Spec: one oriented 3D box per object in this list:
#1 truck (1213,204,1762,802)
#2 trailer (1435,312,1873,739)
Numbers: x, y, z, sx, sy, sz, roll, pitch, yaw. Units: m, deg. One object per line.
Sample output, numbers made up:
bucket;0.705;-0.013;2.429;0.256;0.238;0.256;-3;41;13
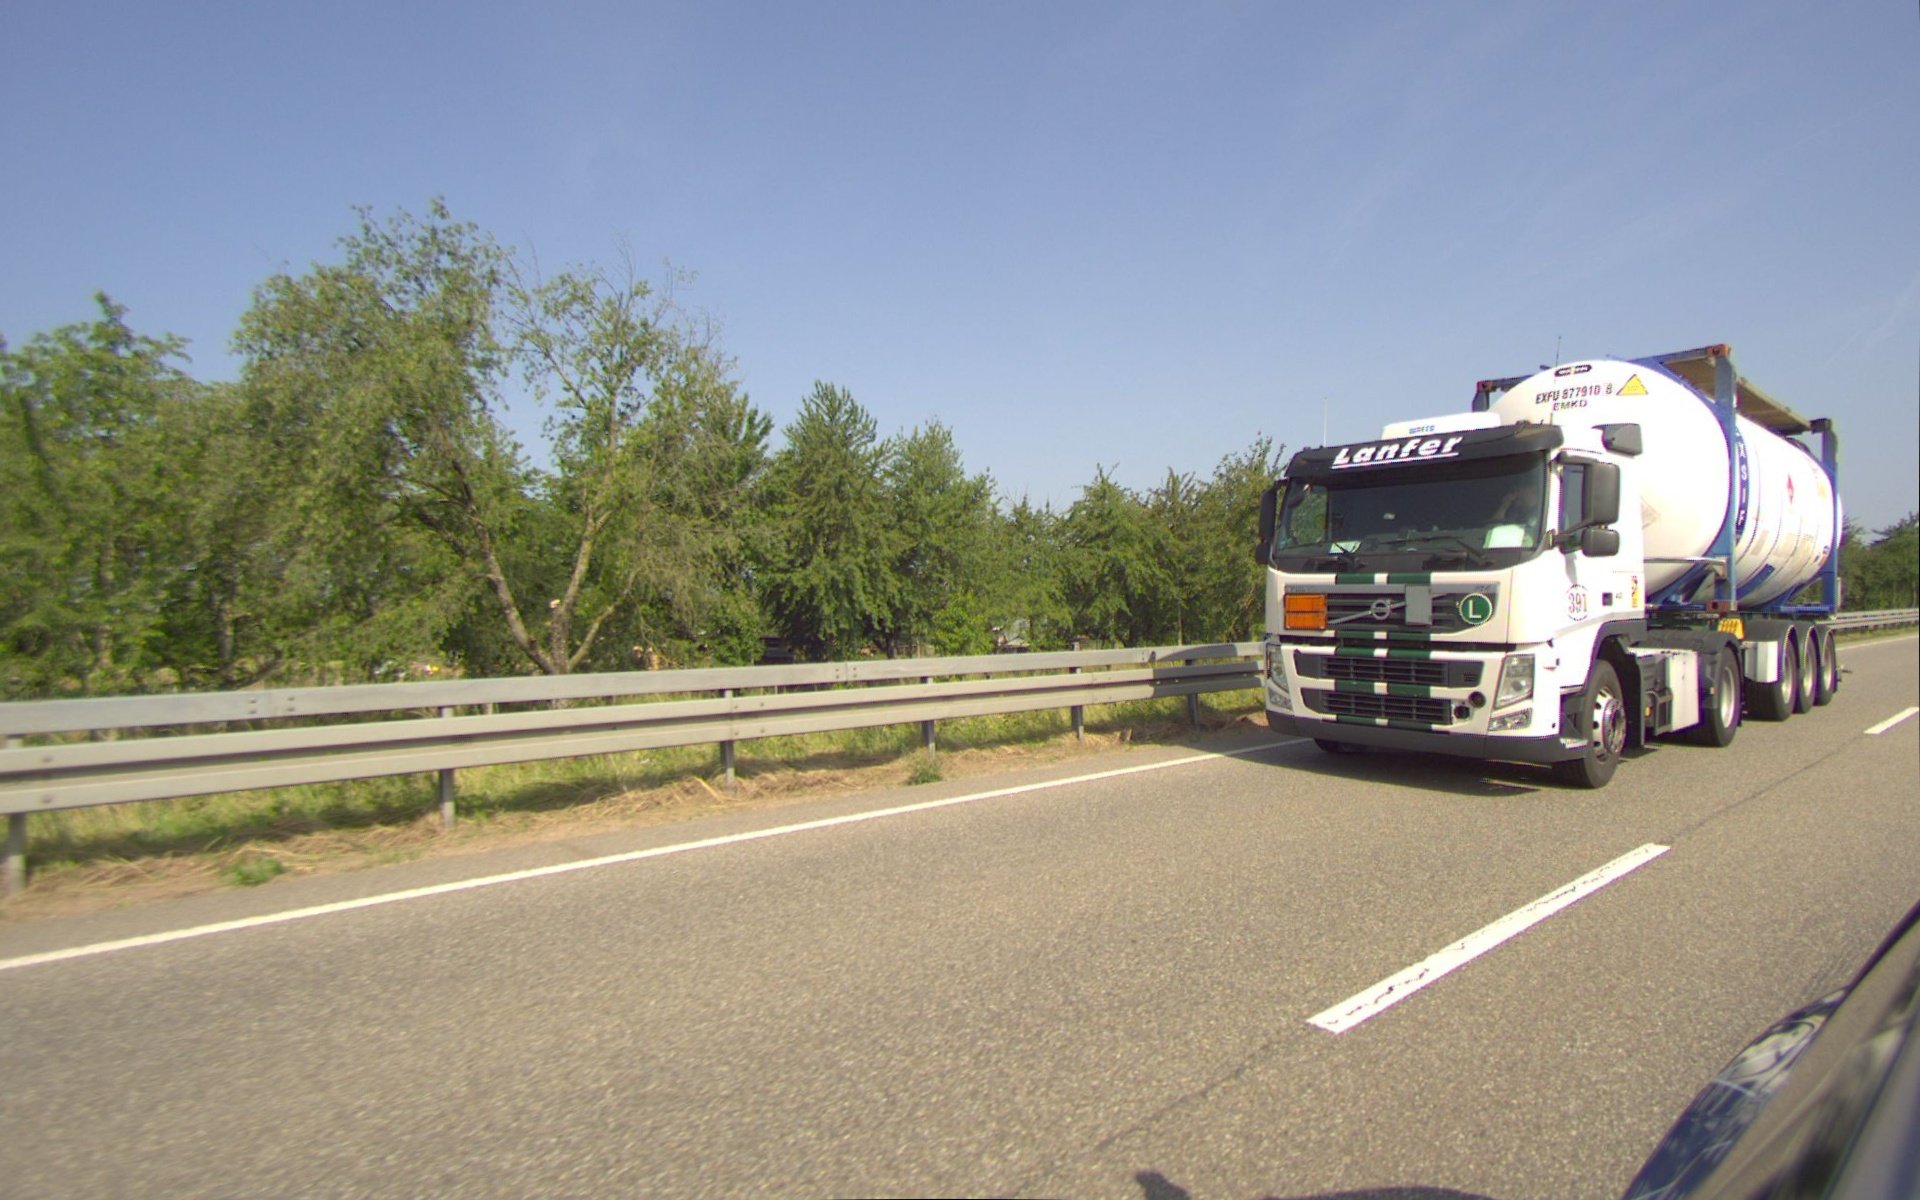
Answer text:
truck;5.229;-0.681;9.656;5.528;4.011;2.777;0;1;-40
trailer;9.425;-0.728;13.250;8.042;4.042;2.762;0;0;-41
